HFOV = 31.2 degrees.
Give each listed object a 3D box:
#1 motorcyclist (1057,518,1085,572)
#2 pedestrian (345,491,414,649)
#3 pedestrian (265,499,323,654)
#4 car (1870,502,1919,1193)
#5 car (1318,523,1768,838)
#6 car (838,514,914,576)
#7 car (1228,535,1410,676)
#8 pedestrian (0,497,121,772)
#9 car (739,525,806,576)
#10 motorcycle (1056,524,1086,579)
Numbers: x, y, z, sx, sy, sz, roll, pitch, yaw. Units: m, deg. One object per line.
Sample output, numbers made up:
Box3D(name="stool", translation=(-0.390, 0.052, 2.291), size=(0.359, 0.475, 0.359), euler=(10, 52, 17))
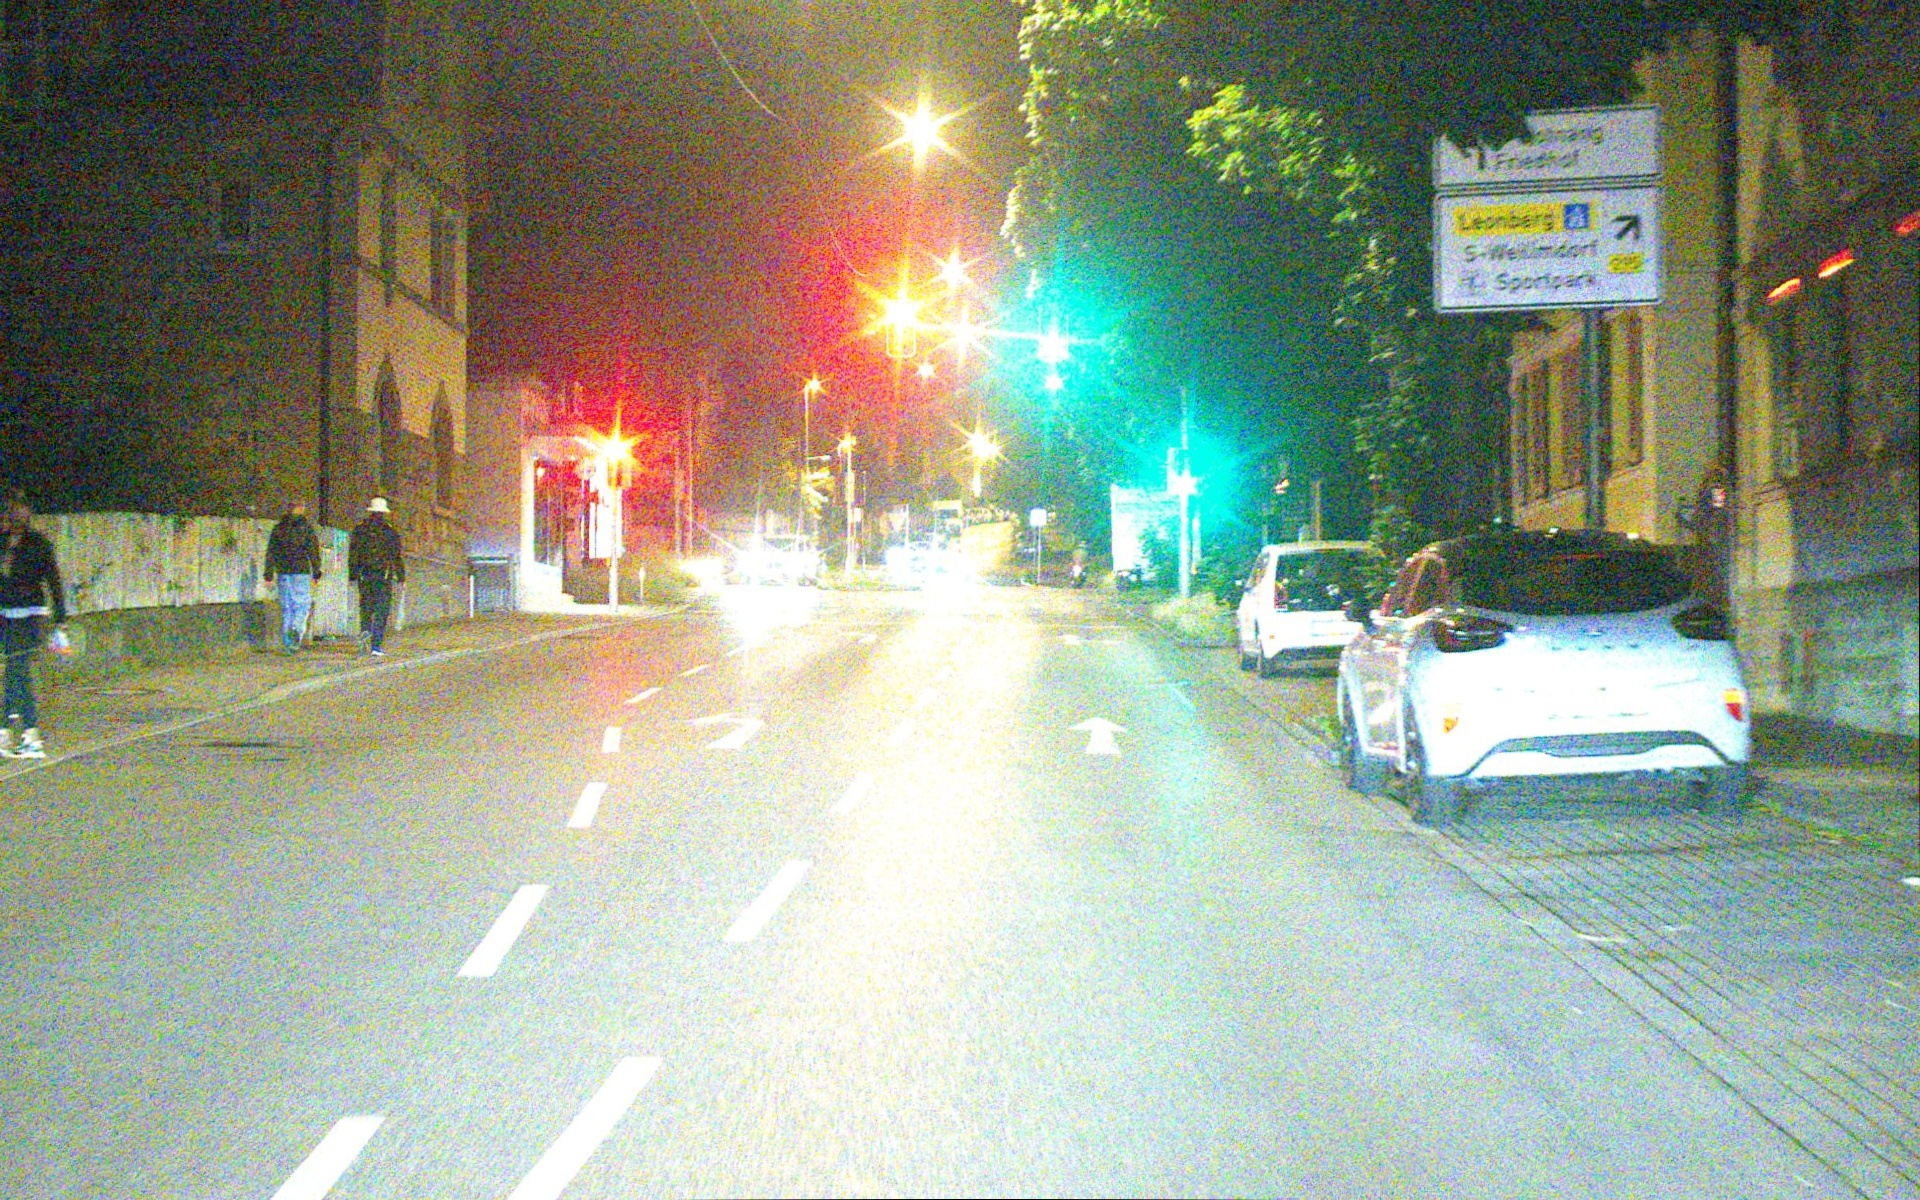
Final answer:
Box3D(name="motorcyclist", translation=(3.583, -1.772, 111.052), size=(0.849, 1.746, 0.805), euler=(1, 0, 1))
Box3D(name="pedestrian", translation=(-6.536, -0.334, 38.704), size=(0.718, 1.759, 0.603), euler=(1, 0, -7))
Box3D(name="pedestrian", translation=(-7.392, -0.262, 38.195), size=(0.569, 1.694, 0.930), euler=(1, 0, -8))
Box3D(name="car", translation=(3.062, 0.594, 6.068), size=(1.812, 1.588, 4.274), euler=(-2, 1, 1))
Box3D(name="car", translation=(3.158, 0.360, 19.422), size=(1.869, 1.521, 4.150), euler=(-2, 1, 1))
Box3D(name="car", translation=(-2.365, -1.540, 97.566), size=(1.944, 1.711, 4.000), euler=(1, 0, 1))
Box3D(name="car", translation=(3.986, 0.023, 38.650), size=(1.629, 1.491, 3.415), euler=(1, 1, -1))
Box3D(name="pedestrian", translation=(-5.965, 0.201, 21.948), size=(0.765, 1.694, 0.926), euler=(3, 1, 15))
Box3D(name="car", translation=(-5.637, -1.478, 103.453), size=(1.715, 1.452, 3.922), euler=(1, 0, 1))
Box3D(name="motorcycle", translation=(3.583, -1.569, 111.051), size=(0.931, 1.746, 2.625), euler=(1, 0, 1))
